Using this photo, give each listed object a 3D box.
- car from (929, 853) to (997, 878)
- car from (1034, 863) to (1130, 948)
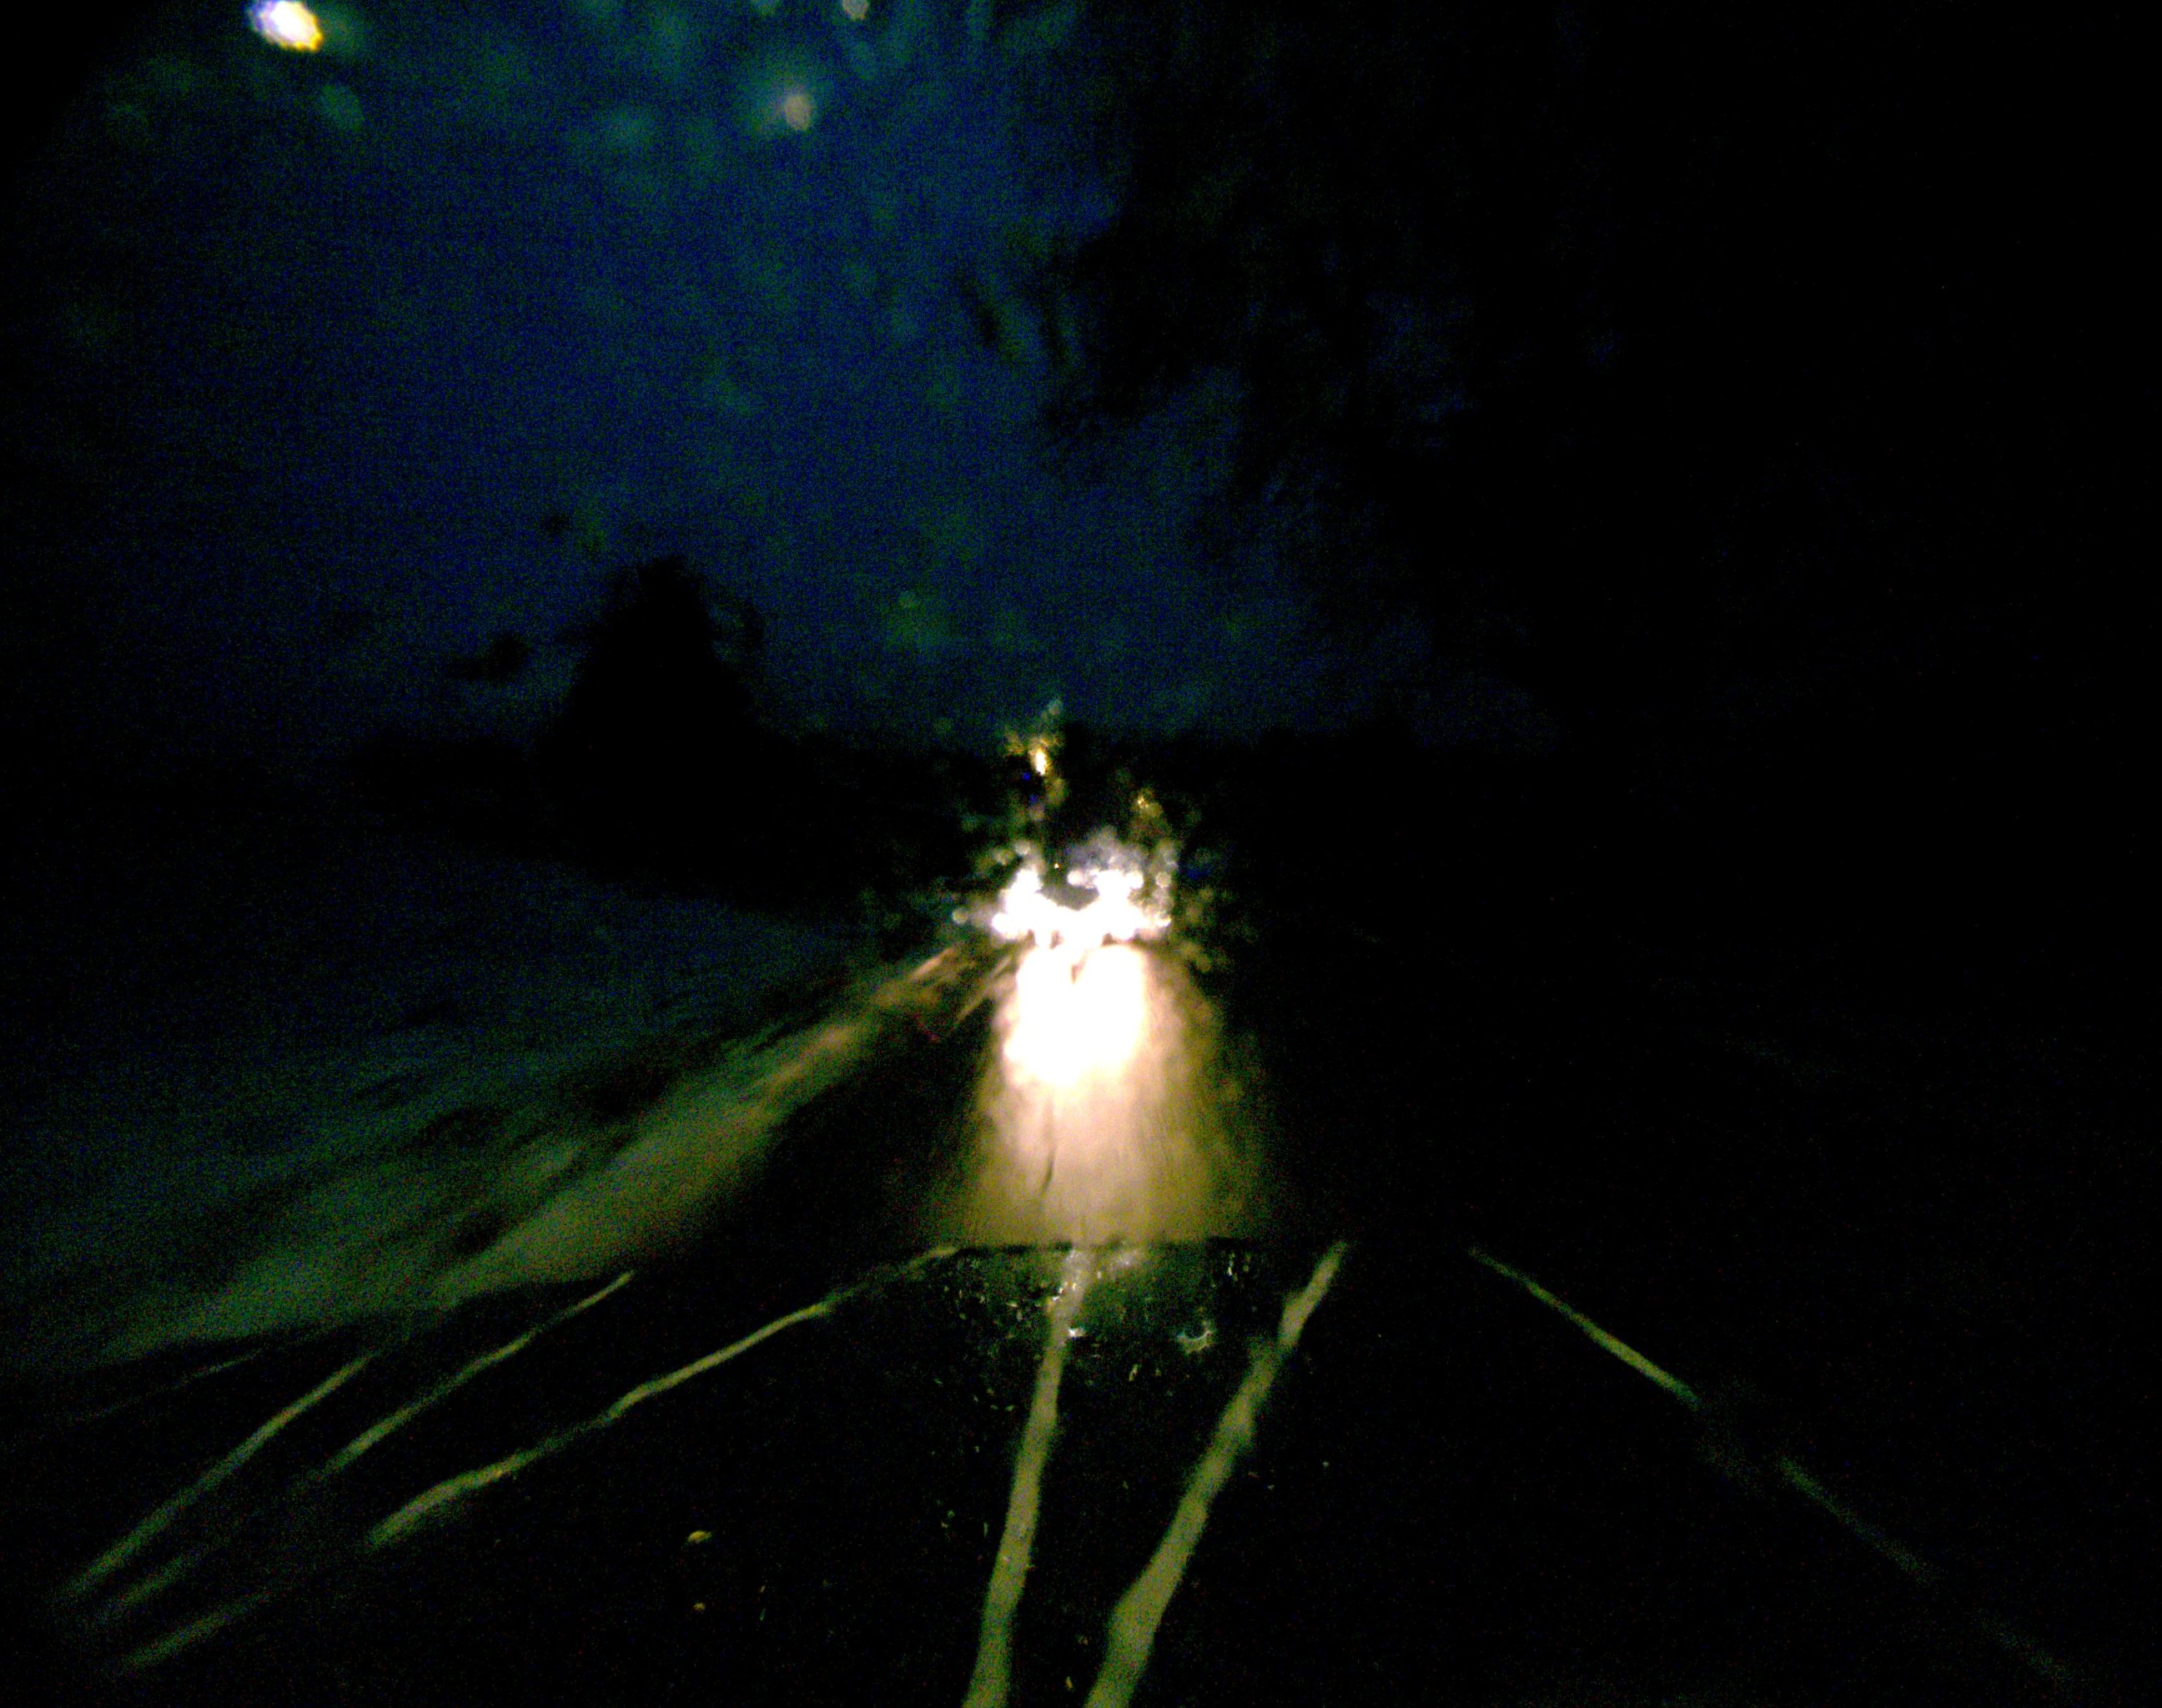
[{"bbox_3d":[-8.430,0.812,54.540,4.403,1.647,1.864,1,-1,9],"label":"car"},{"bbox_3d":[-0.095,0.946,15.357,1.650,1.446,3.679,1,0,-4],"label":"car"}]
